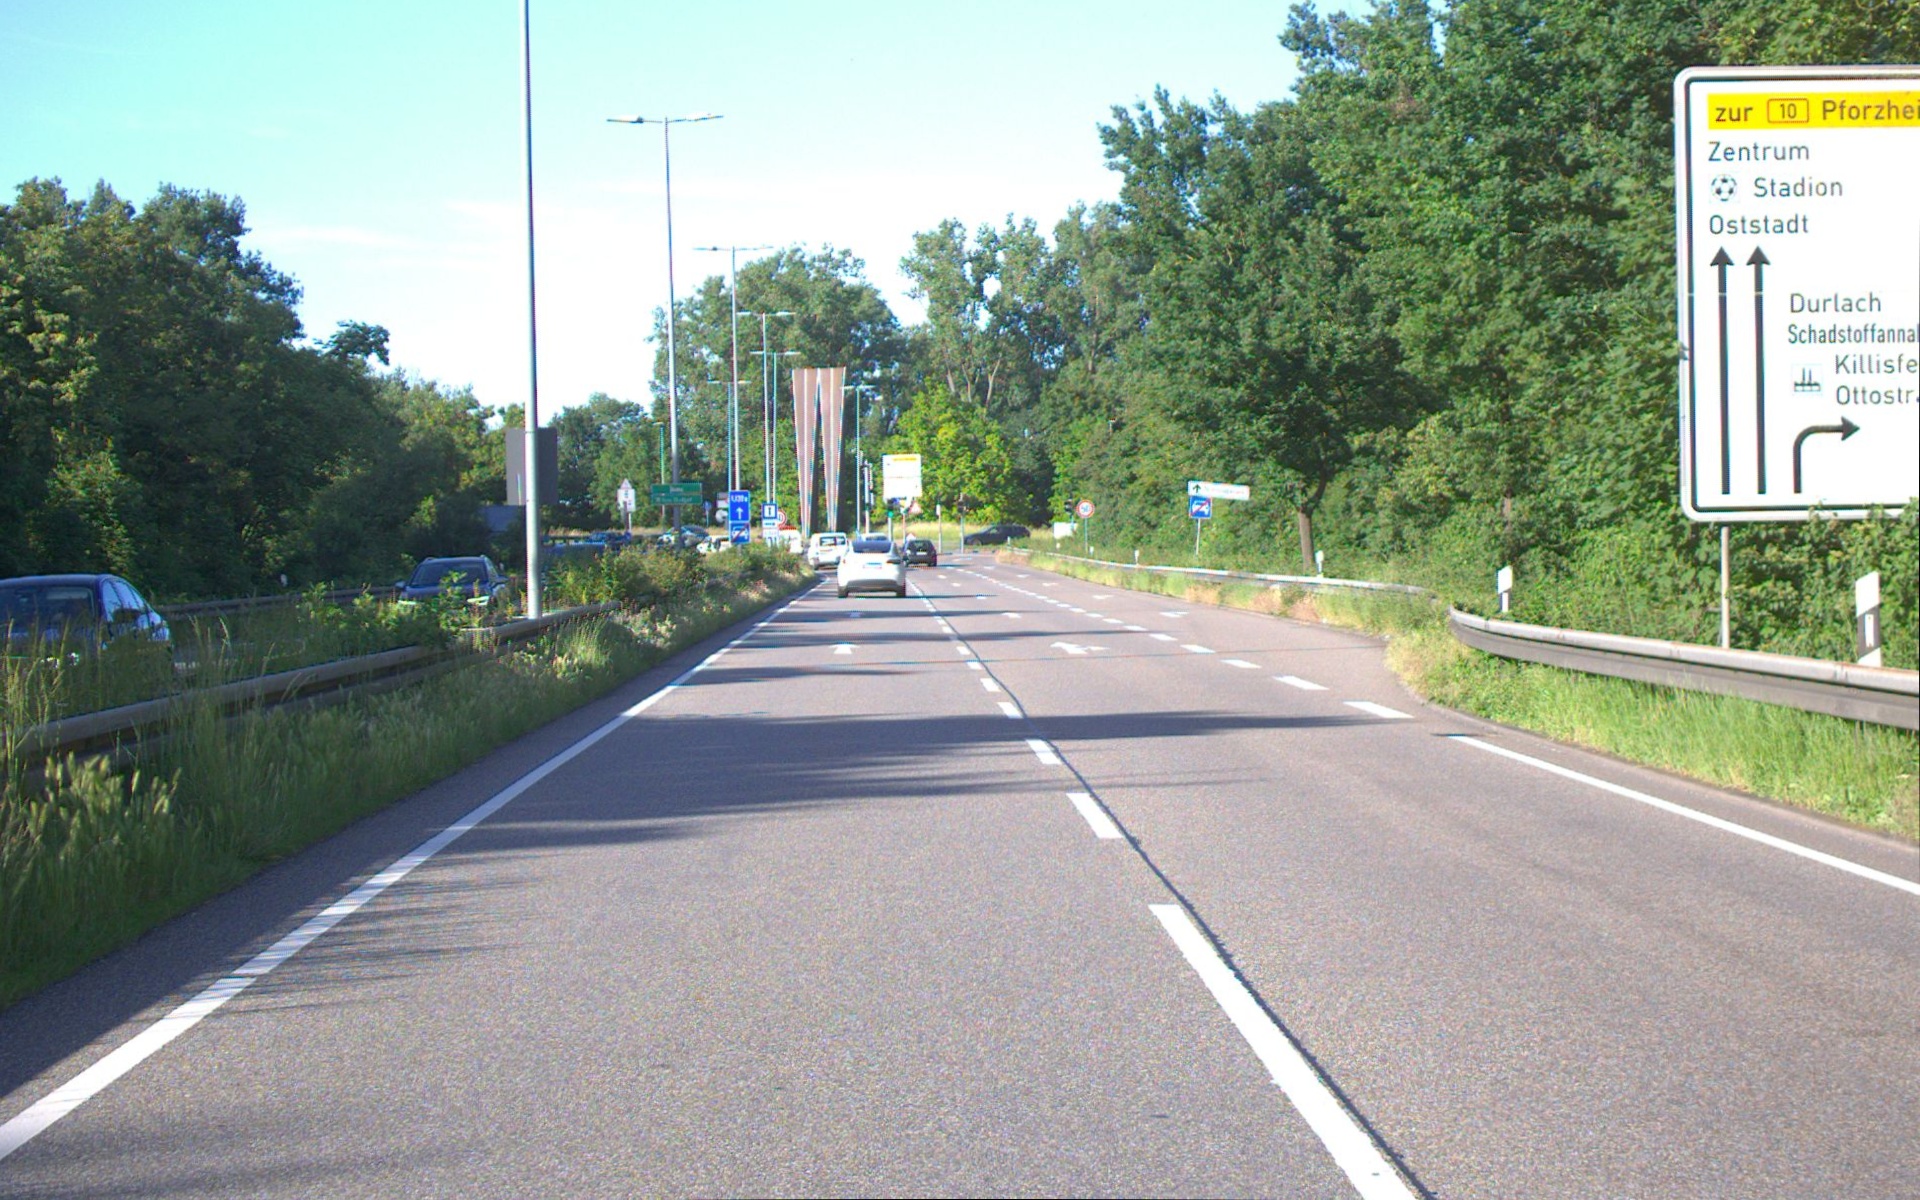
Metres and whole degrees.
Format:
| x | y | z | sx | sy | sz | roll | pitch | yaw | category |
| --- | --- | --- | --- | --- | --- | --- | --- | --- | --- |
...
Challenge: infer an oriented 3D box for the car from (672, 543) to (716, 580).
| x | y | z | sx | sy | sz | roll | pitch | yaw | category |
| --- | --- | --- | --- | --- | --- | --- | --- | --- | --- |
| -12.573 | -1.832 | 162.821 | 1.785 | 1.704 | 4.547 | -1 | 1 | -1 | car |

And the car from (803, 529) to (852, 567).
| x | y | z | sx | sy | sz | roll | pitch | yaw | category |
| --- | --- | --- | --- | --- | --- | --- | --- | --- | --- |
| -6.930 | -2.712 | 178.941 | 1.993 | 1.873 | 4.250 | -2 | 2 | -9 | car |

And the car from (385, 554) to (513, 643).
| x | y | z | sx | sy | sz | roll | pitch | yaw | category |
| --- | --- | --- | --- | --- | --- | --- | --- | --- | --- |
| -9.444 | -0.052 | 63.797 | 1.618 | 1.525 | 4.608 | -1 | 1 | 0 | car |

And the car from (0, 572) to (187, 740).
| x | y | z | sx | sy | sz | roll | pitch | yaw | category |
| --- | --- | --- | --- | --- | --- | --- | --- | --- | --- |
| -8.646 | 0.481 | 32.104 | 1.781 | 1.398 | 4.553 | -1 | 1 | 0 | car |

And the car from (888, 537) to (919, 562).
| x | y | z | sx | sy | sz | roll | pitch | yaw | category |
| --- | --- | --- | --- | --- | --- | --- | --- | --- | --- |
| -3.173 | -2.807 | 192.372 | 1.624 | 1.276 | 2.987 | 2 | 0 | -2 | car |

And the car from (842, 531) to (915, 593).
| x | y | z | sx | sy | sz | roll | pitch | yaw | category |
| --- | --- | --- | --- | --- | --- | --- | --- | --- | --- |
| -2.334 | -1.094 | 97.783 | 1.993 | 1.634 | 4.129 | -1 | 2 | -2 | car |

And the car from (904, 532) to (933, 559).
| x | y | z | sx | sy | sz | roll | pitch | yaw | category |
| --- | --- | --- | --- | --- | --- | --- | --- | --- | --- |
| -2.126 | -2.771 | 174.529 | 1.388 | 1.276 | 2.987 | 2 | 0 | -2 | car |

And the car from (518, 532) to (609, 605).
| x | y | z | sx | sy | sz | roll | pitch | yaw | category |
| --- | --- | --- | --- | --- | --- | --- | --- | --- | --- |
| -10.002 | -0.826 | 86.968 | 1.841 | 1.751 | 4.712 | -1 | 1 | -1 | car |

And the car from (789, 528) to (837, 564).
| x | y | z | sx | sy | sz | roll | pitch | yaw | category |
| --- | --- | --- | --- | --- | --- | --- | --- | --- | --- |
| -8.559 | -3.111 | 200.156 | 1.993 | 2.007 | 4.001 | 1 | 0 | -14 | car |
